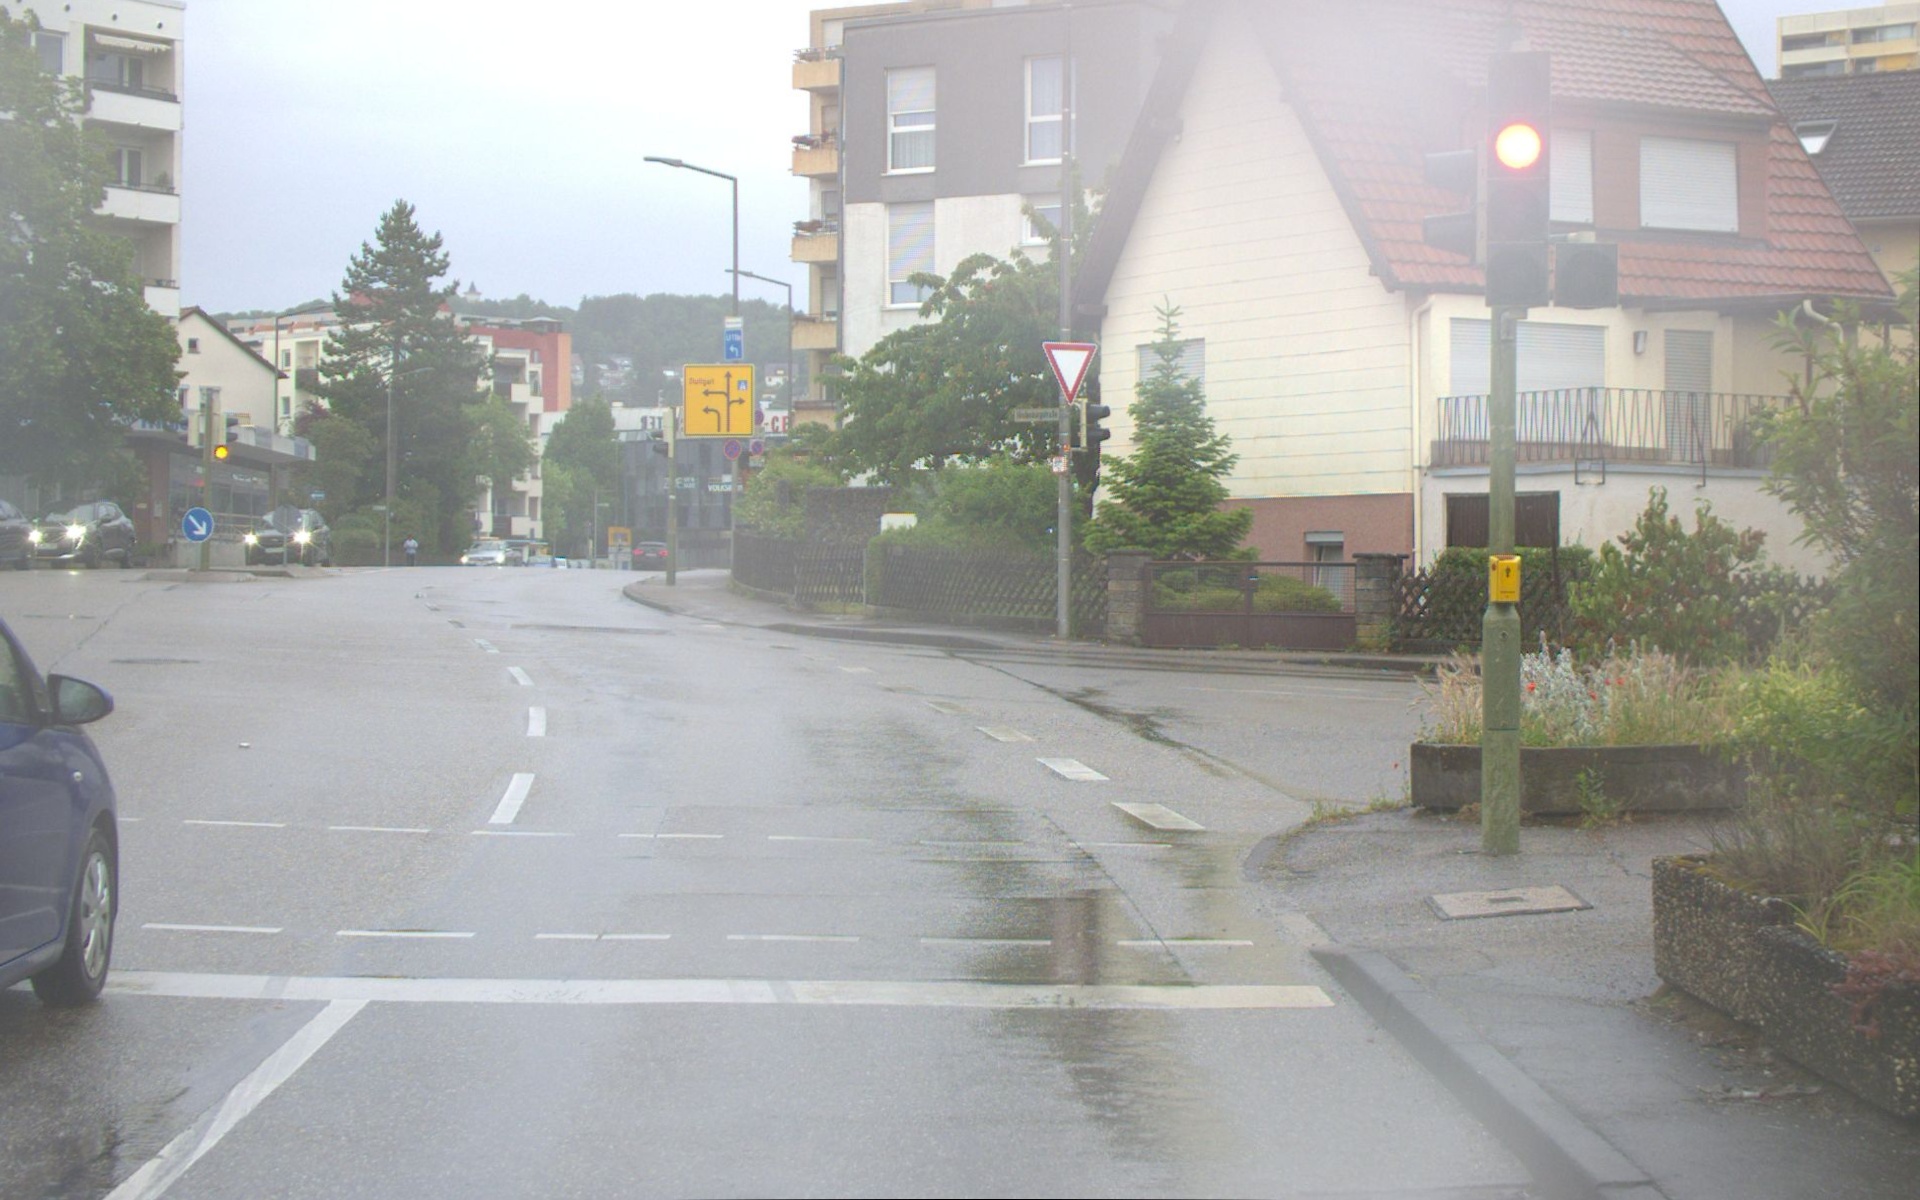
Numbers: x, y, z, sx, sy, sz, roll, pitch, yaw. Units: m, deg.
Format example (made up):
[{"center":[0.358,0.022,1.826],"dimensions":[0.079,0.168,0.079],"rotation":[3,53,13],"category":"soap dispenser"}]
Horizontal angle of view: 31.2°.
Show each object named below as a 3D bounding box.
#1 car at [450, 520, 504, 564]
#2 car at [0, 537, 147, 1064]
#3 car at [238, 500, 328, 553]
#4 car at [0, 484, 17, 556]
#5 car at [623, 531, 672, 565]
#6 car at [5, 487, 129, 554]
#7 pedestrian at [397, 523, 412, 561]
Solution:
[{"center":[-20.590,-2.478,146.675],"dimensions":[1.755,1.809,3.861],"rotation":[1,2,0],"category":"car"},{"center":[-3.384,0.540,9.388],"dimensions":[1.578,1.406,3.270],"rotation":[1,2,-1],"category":"car"},{"center":[-18.555,-2.030,94.361],"dimensions":[1.778,1.415,3.831],"rotation":[1,2,-1],"category":"car"},{"center":[-19.746,-1.569,66.981],"dimensions":[1.778,1.415,3.831],"rotation":[1,2,-1],"category":"car"},{"center":[-14.026,-2.344,154.504],"dimensions":[1.813,1.481,4.189],"rotation":[0,2,0],"category":"car"},{"center":[-19.245,-1.737,74.242],"dimensions":[1.715,1.382,4.021],"rotation":[1,2,-1],"category":"car"},{"center":[-24.239,-2.534,150.009],"dimensions":[0.497,1.652,0.433],"rotation":[2,2,26],"category":"pedestrian"}]
